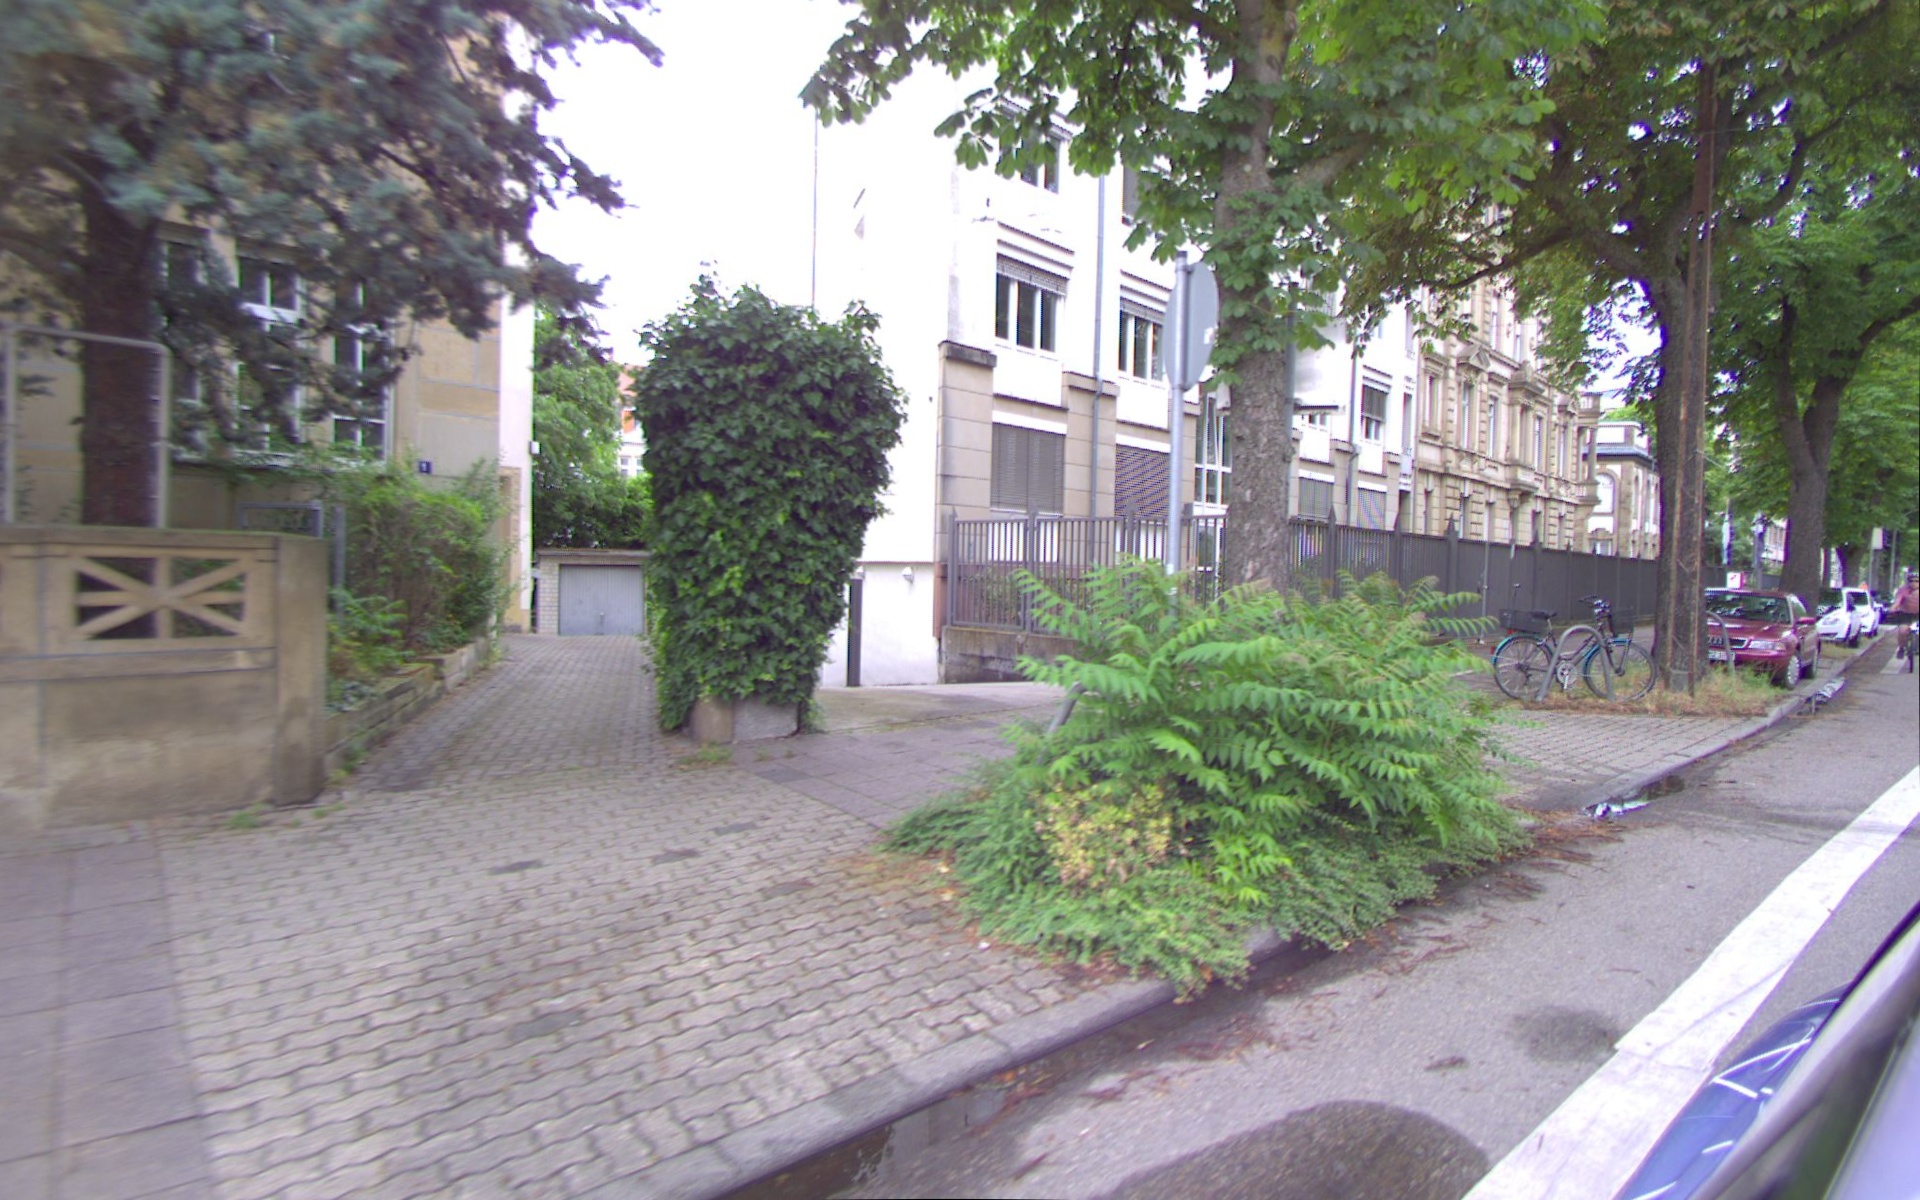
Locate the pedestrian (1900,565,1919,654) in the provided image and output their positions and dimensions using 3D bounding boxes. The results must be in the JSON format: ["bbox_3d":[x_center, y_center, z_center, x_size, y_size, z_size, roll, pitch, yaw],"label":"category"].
[{"bbox_3d":[17.394,0.174,18.174,0.693,1.569,0.683,0,2,-44],"label":"pedestrian"}]

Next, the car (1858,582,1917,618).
[{"bbox_3d":[39.517,-0.020,43.074,3.774,1.386,1.604,-1,5,-45],"label":"car"}]

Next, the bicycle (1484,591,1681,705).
[{"bbox_3d":[6.832,0.517,11.151,1.868,1.213,0.433,0,2,1],"label":"bicycle"}]

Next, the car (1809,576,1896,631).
[{"bbox_3d":[26.622,0.072,30.137,3.703,1.453,1.629,-1,5,-45],"label":"car"}]

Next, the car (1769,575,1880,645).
[{"bbox_3d":[20.744,0.196,24.250,3.714,1.453,1.604,-1,5,-44],"label":"car"}]

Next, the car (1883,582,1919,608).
[{"bbox_3d":[54.966,-0.319,58.871,3.774,1.386,1.604,-1,5,-45],"label":"car"}]

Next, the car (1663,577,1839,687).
[{"bbox_3d":[12.502,0.408,15.902,4.158,1.415,1.604,-1,5,-45],"label":"car"}]

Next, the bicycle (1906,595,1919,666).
[{"bbox_3d":[17.467,0.541,18.315,1.679,1.219,0.413,-1,2,-45],"label":"bicycle"}]
